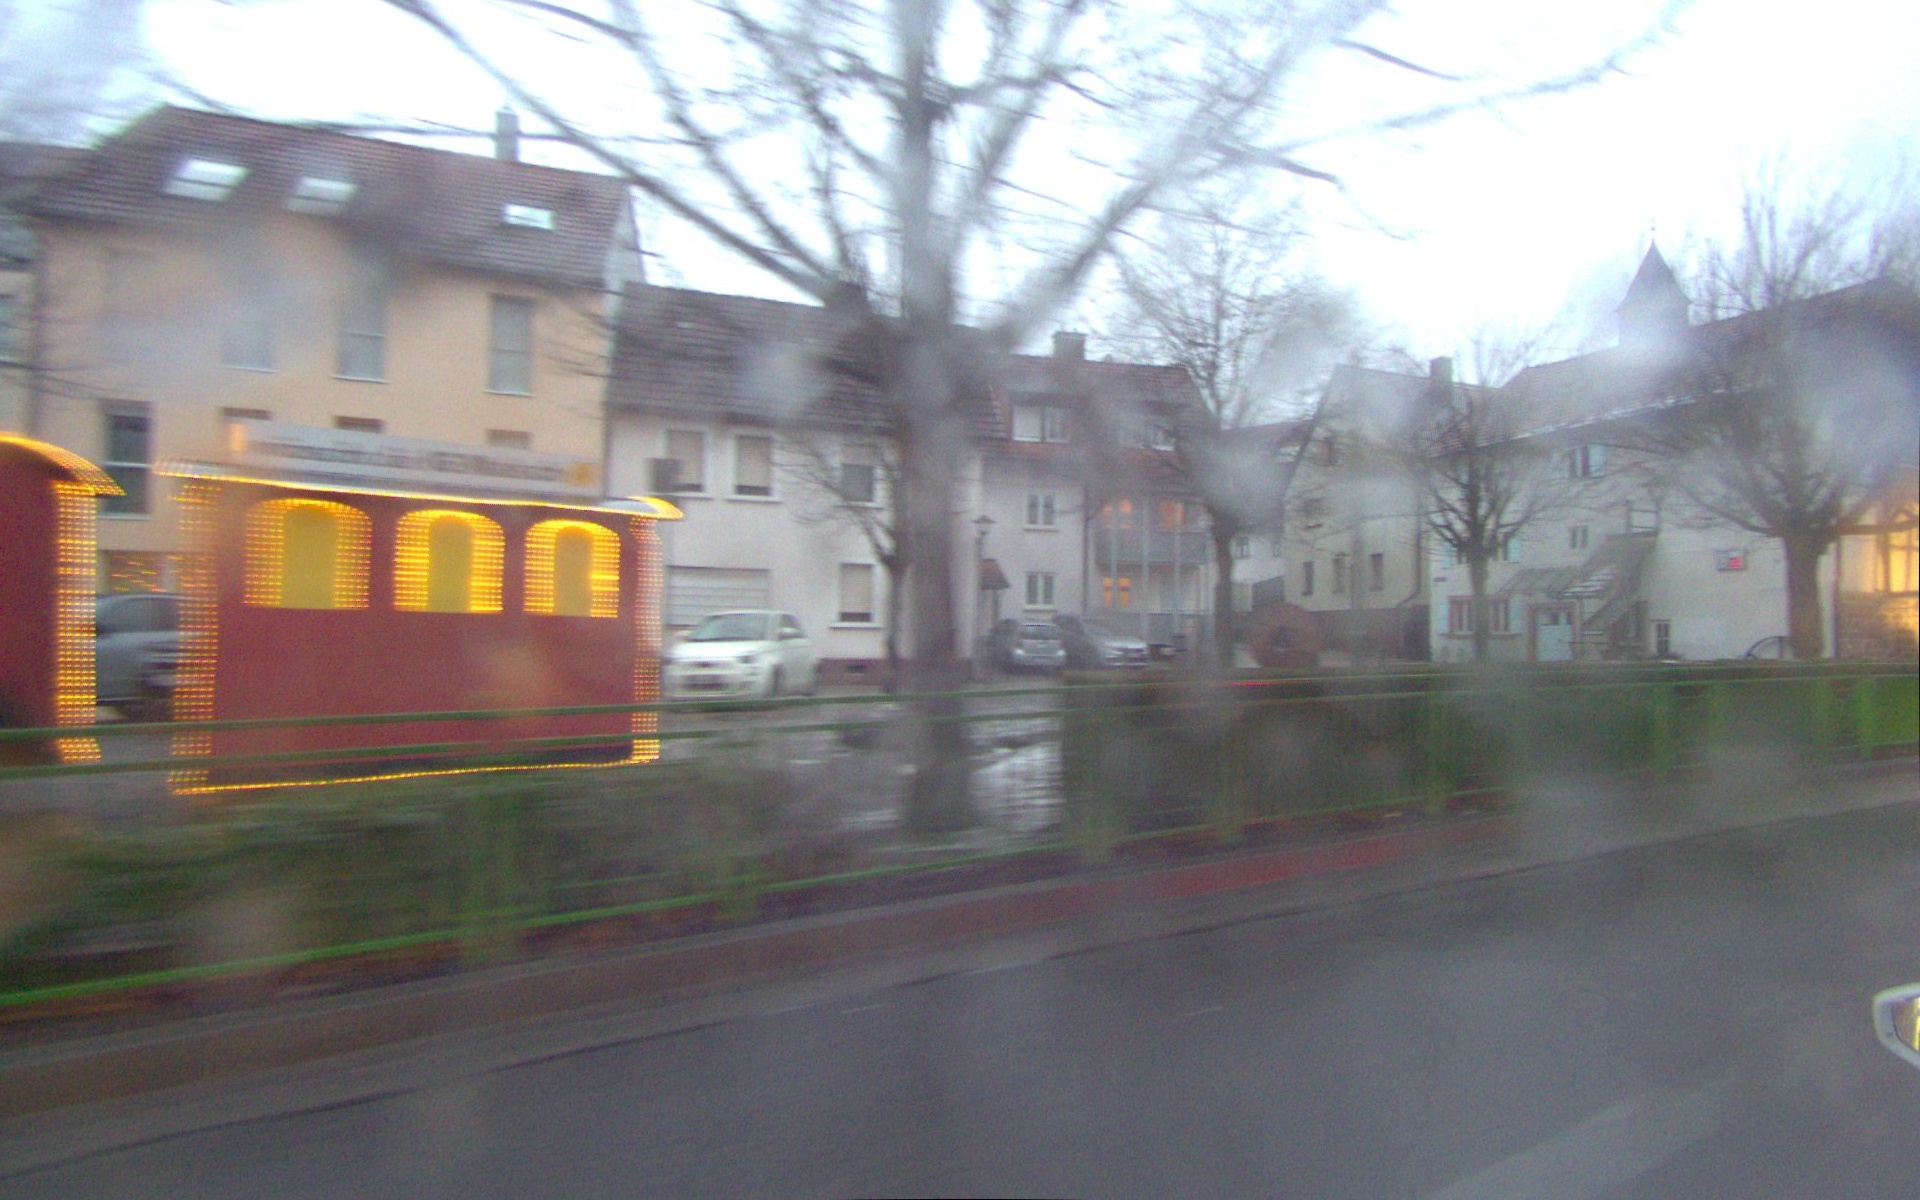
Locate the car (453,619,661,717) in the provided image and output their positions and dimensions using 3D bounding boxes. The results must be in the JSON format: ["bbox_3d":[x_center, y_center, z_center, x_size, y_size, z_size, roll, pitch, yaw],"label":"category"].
[{"bbox_3d":[-5.735,0.917,14.668,1.578,1.236,3.057,0,0,6],"label":"car"}]

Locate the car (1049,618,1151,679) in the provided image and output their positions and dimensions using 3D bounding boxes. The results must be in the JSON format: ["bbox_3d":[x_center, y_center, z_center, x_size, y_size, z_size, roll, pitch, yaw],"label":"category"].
[{"bbox_3d":[4.228,1.419,30.775,1.686,1.634,3.595,0,1,-18],"label":"car"}]

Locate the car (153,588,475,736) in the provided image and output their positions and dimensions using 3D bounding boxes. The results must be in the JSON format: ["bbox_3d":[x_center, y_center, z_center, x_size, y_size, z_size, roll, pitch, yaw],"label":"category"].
[{"bbox_3d":[-8.101,0.704,13.028,1.578,1.633,3.637,0,0,6],"label":"car"}]

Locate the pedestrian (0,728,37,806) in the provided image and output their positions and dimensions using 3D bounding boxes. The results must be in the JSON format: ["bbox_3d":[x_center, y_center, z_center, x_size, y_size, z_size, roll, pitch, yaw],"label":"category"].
[{"bbox_3d":[-6.497,1.126,6.752,0.357,0.491,0.293,1,-3,-28],"label":"pedestrian"}]

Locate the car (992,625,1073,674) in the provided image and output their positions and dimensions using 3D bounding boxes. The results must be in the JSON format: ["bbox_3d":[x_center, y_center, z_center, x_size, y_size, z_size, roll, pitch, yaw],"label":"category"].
[{"bbox_3d":[2.121,1.458,30.086,1.503,1.142,3.045,1,3,-15],"label":"car"}]

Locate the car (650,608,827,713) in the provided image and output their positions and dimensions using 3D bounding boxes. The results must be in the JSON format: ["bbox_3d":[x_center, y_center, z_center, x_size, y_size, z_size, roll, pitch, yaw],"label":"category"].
[{"bbox_3d":[-3.292,0.846,15.600,1.578,1.428,3.487,0,0,8],"label":"car"}]
